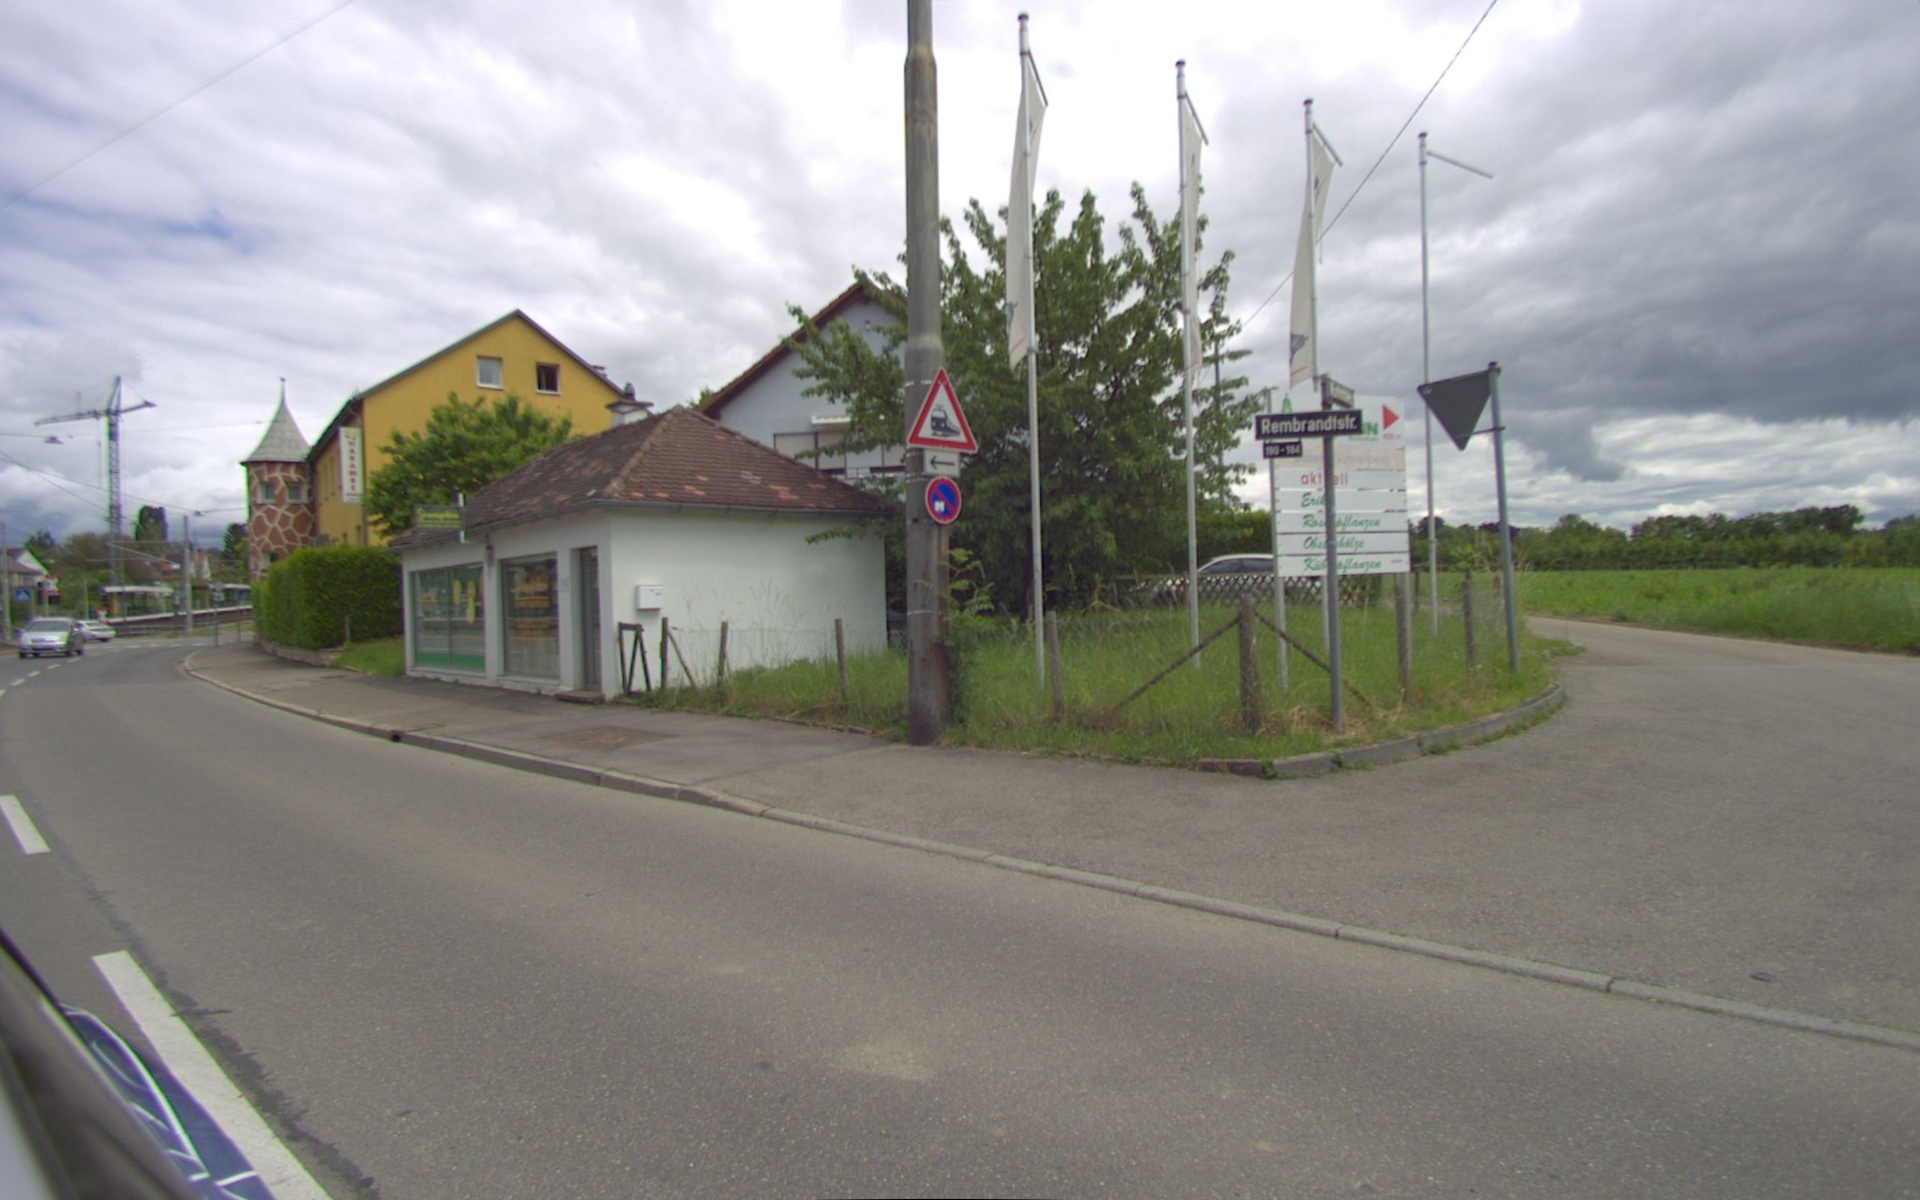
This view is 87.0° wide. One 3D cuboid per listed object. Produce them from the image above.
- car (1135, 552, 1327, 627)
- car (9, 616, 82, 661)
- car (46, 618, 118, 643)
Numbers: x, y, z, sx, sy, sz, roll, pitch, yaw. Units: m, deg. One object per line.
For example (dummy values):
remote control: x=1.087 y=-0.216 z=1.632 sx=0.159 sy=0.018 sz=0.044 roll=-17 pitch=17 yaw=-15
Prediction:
car: x=5.983 y=-0.237 z=22.824 sx=3.955 sy=1.545 sz=1.994 roll=-1 pitch=1 yaw=9
car: x=-37.887 y=1.558 z=41.997 sx=1.707 sy=1.661 sz=4.236 roll=-2 pitch=1 yaw=-35
car: x=-58.412 y=2.007 z=67.324 sx=4.193 sy=1.474 sz=1.724 roll=-2 pitch=1 yaw=19
